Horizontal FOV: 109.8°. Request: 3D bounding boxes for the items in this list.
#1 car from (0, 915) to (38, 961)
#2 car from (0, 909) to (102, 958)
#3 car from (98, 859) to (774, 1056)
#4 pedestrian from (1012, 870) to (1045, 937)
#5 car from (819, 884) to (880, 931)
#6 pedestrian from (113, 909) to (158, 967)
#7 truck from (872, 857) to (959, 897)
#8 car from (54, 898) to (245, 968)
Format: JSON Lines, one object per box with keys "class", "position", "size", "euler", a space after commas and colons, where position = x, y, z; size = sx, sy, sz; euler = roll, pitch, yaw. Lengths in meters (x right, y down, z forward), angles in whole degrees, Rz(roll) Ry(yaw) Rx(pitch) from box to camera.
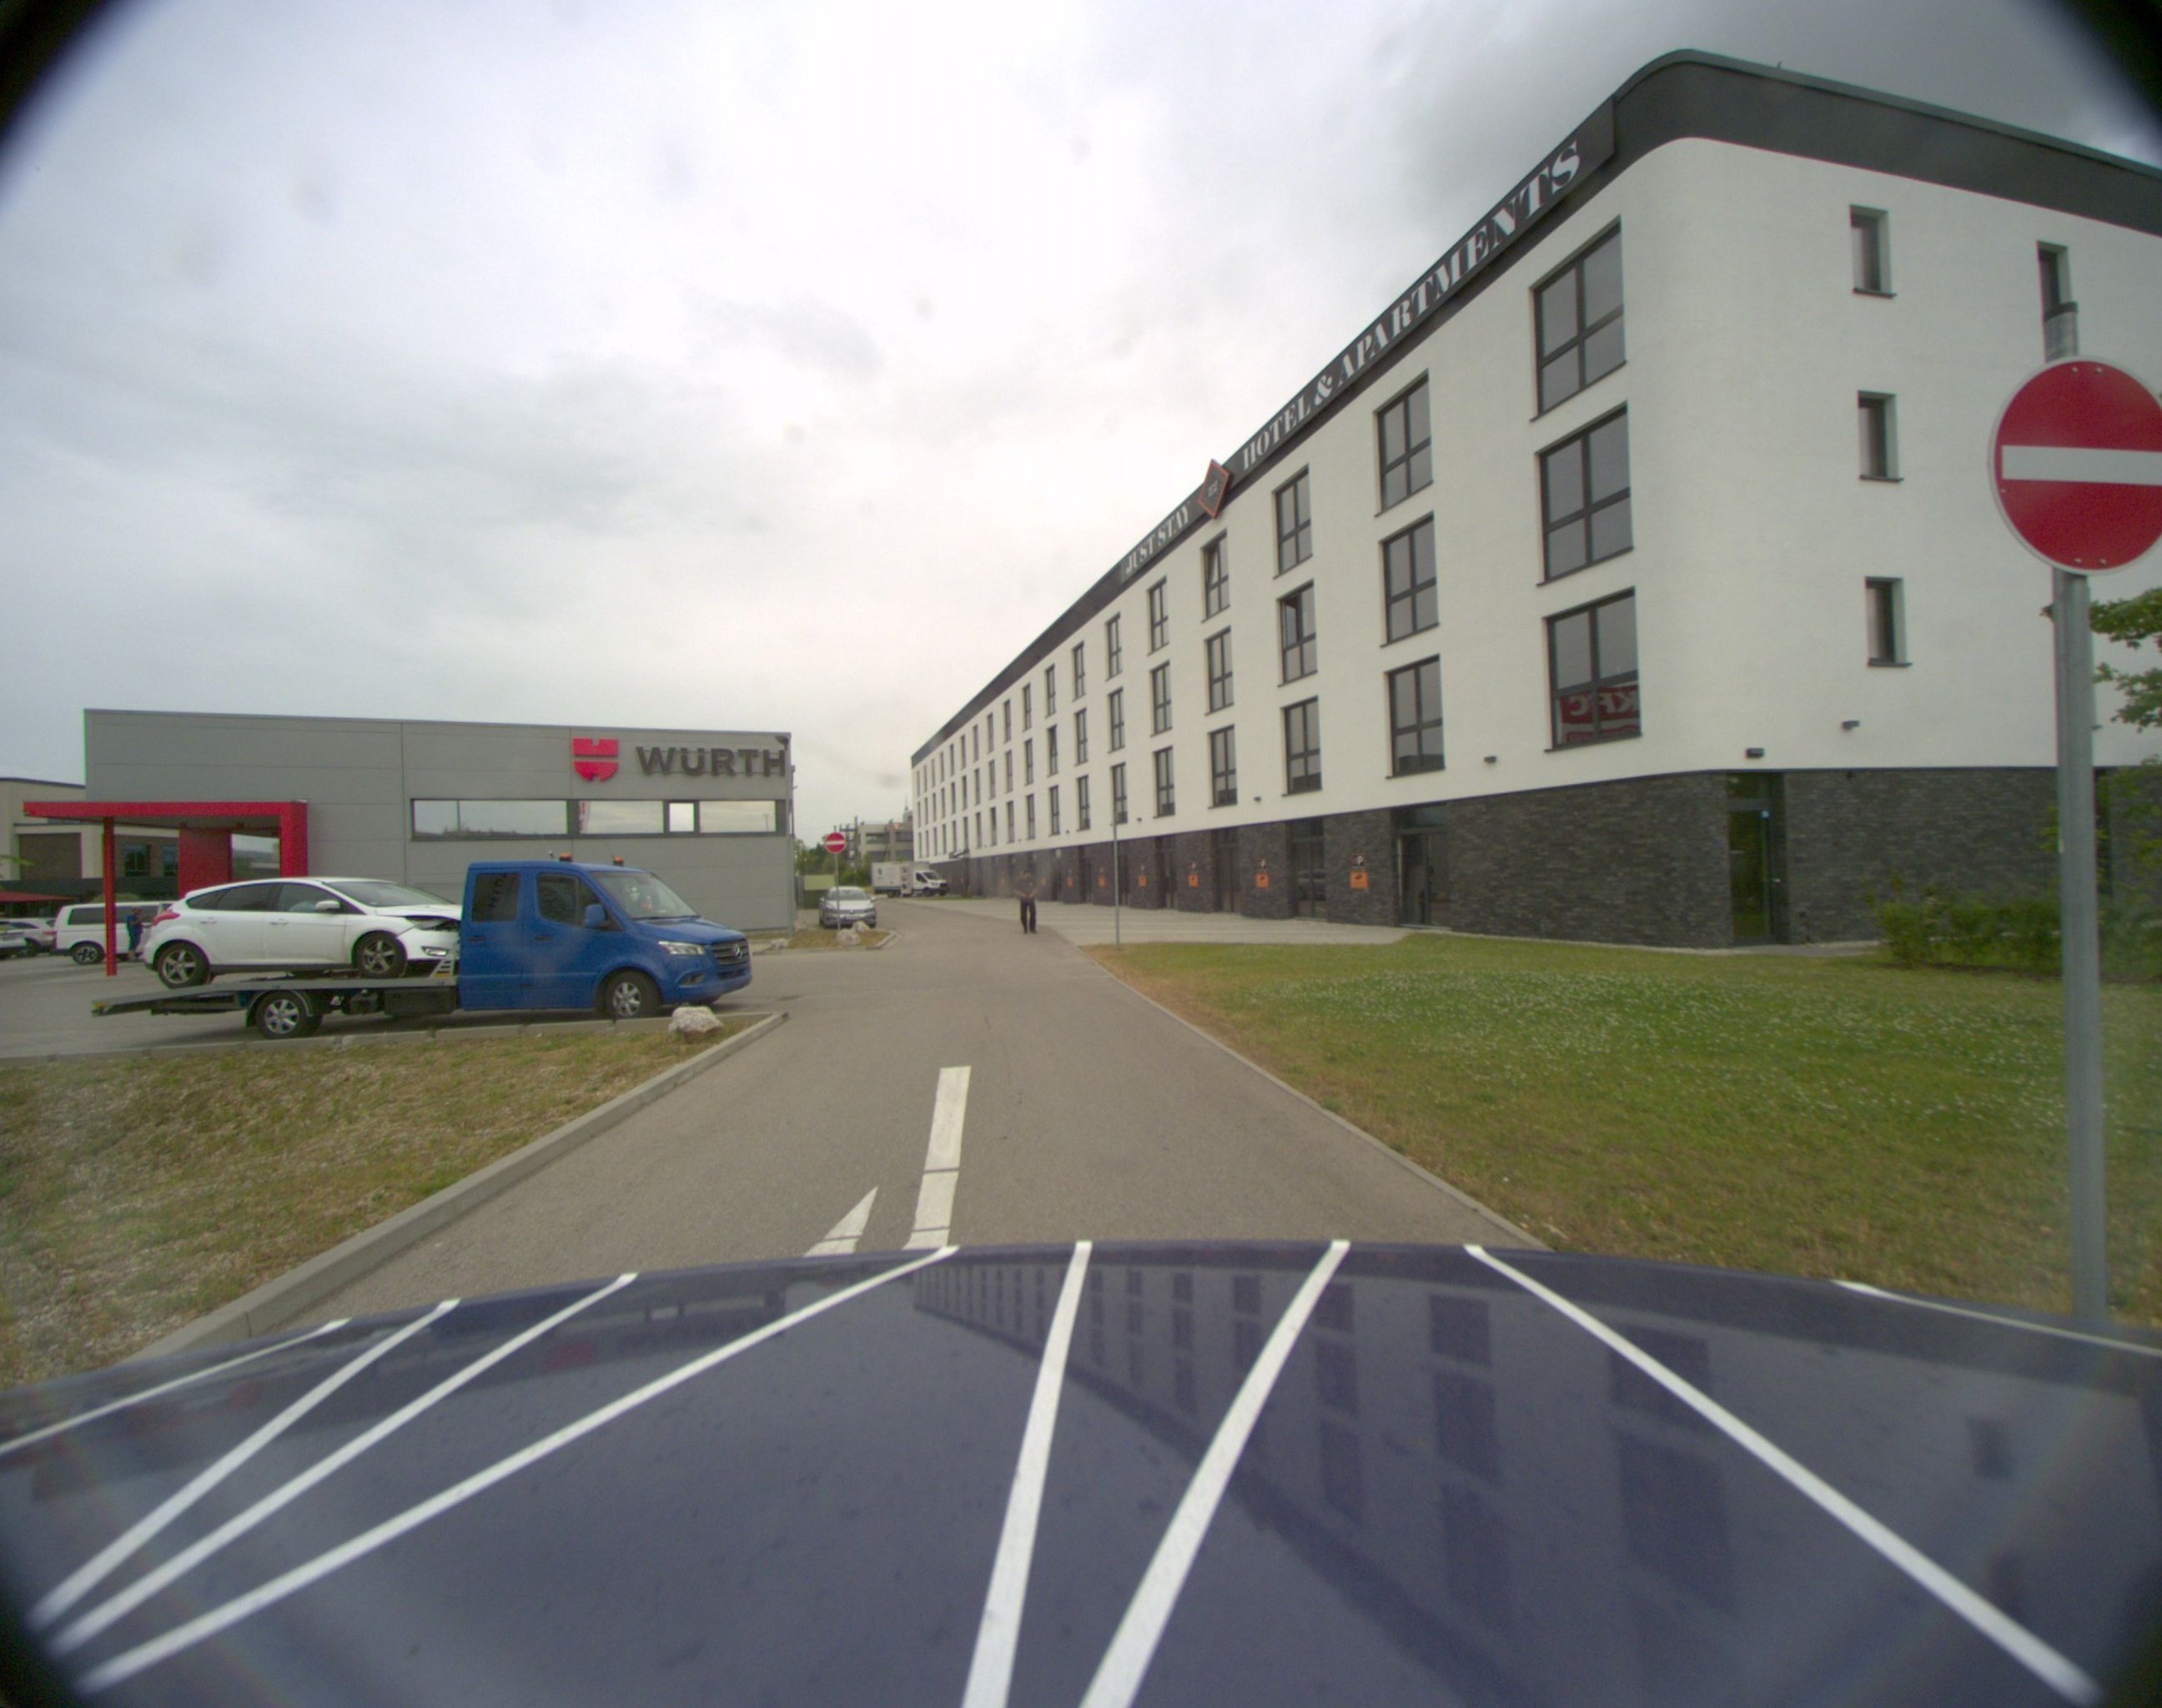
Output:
{"class": "car", "position": [-44.592, 3.418, 29.433], "size": [4.745, 1.738, 1.756], "euler": [-2, 0, -19]}
{"class": "car", "position": [-45.320, 3.396, 32.325], "size": [4.003, 1.848, 1.997], "euler": [-2, -1, -19]}
{"class": "car", "position": [-8.781, 1.356, 10.870], "size": [7.850, 2.309, 2.202], "euler": [-2, -1, 1]}
{"class": "pedestrian", "position": [-1.484, 1.362, 21.251], "size": [0.710, 1.811, 0.812], "euler": [-2, 0, -16]}
{"class": "car", "position": [-8.579, 1.932, 28.525], "size": [1.982, 1.482, 4.765], "euler": [0, -1, -14]}
{"class": "pedestrian", "position": [-30.499, 2.692, 24.516], "size": [0.659, 1.797, 0.648], "euler": [-1, -1, -19]}
{"class": "truck", "position": [-13.669, 1.882, 62.455], "size": [7.051, 2.998, 2.441], "euler": [-2, 0, 30]}
{"class": "car", "position": [-31.315, 2.597, 25.698], "size": [3.679, 1.967, 1.673], "euler": [-2, 0, -20]}
